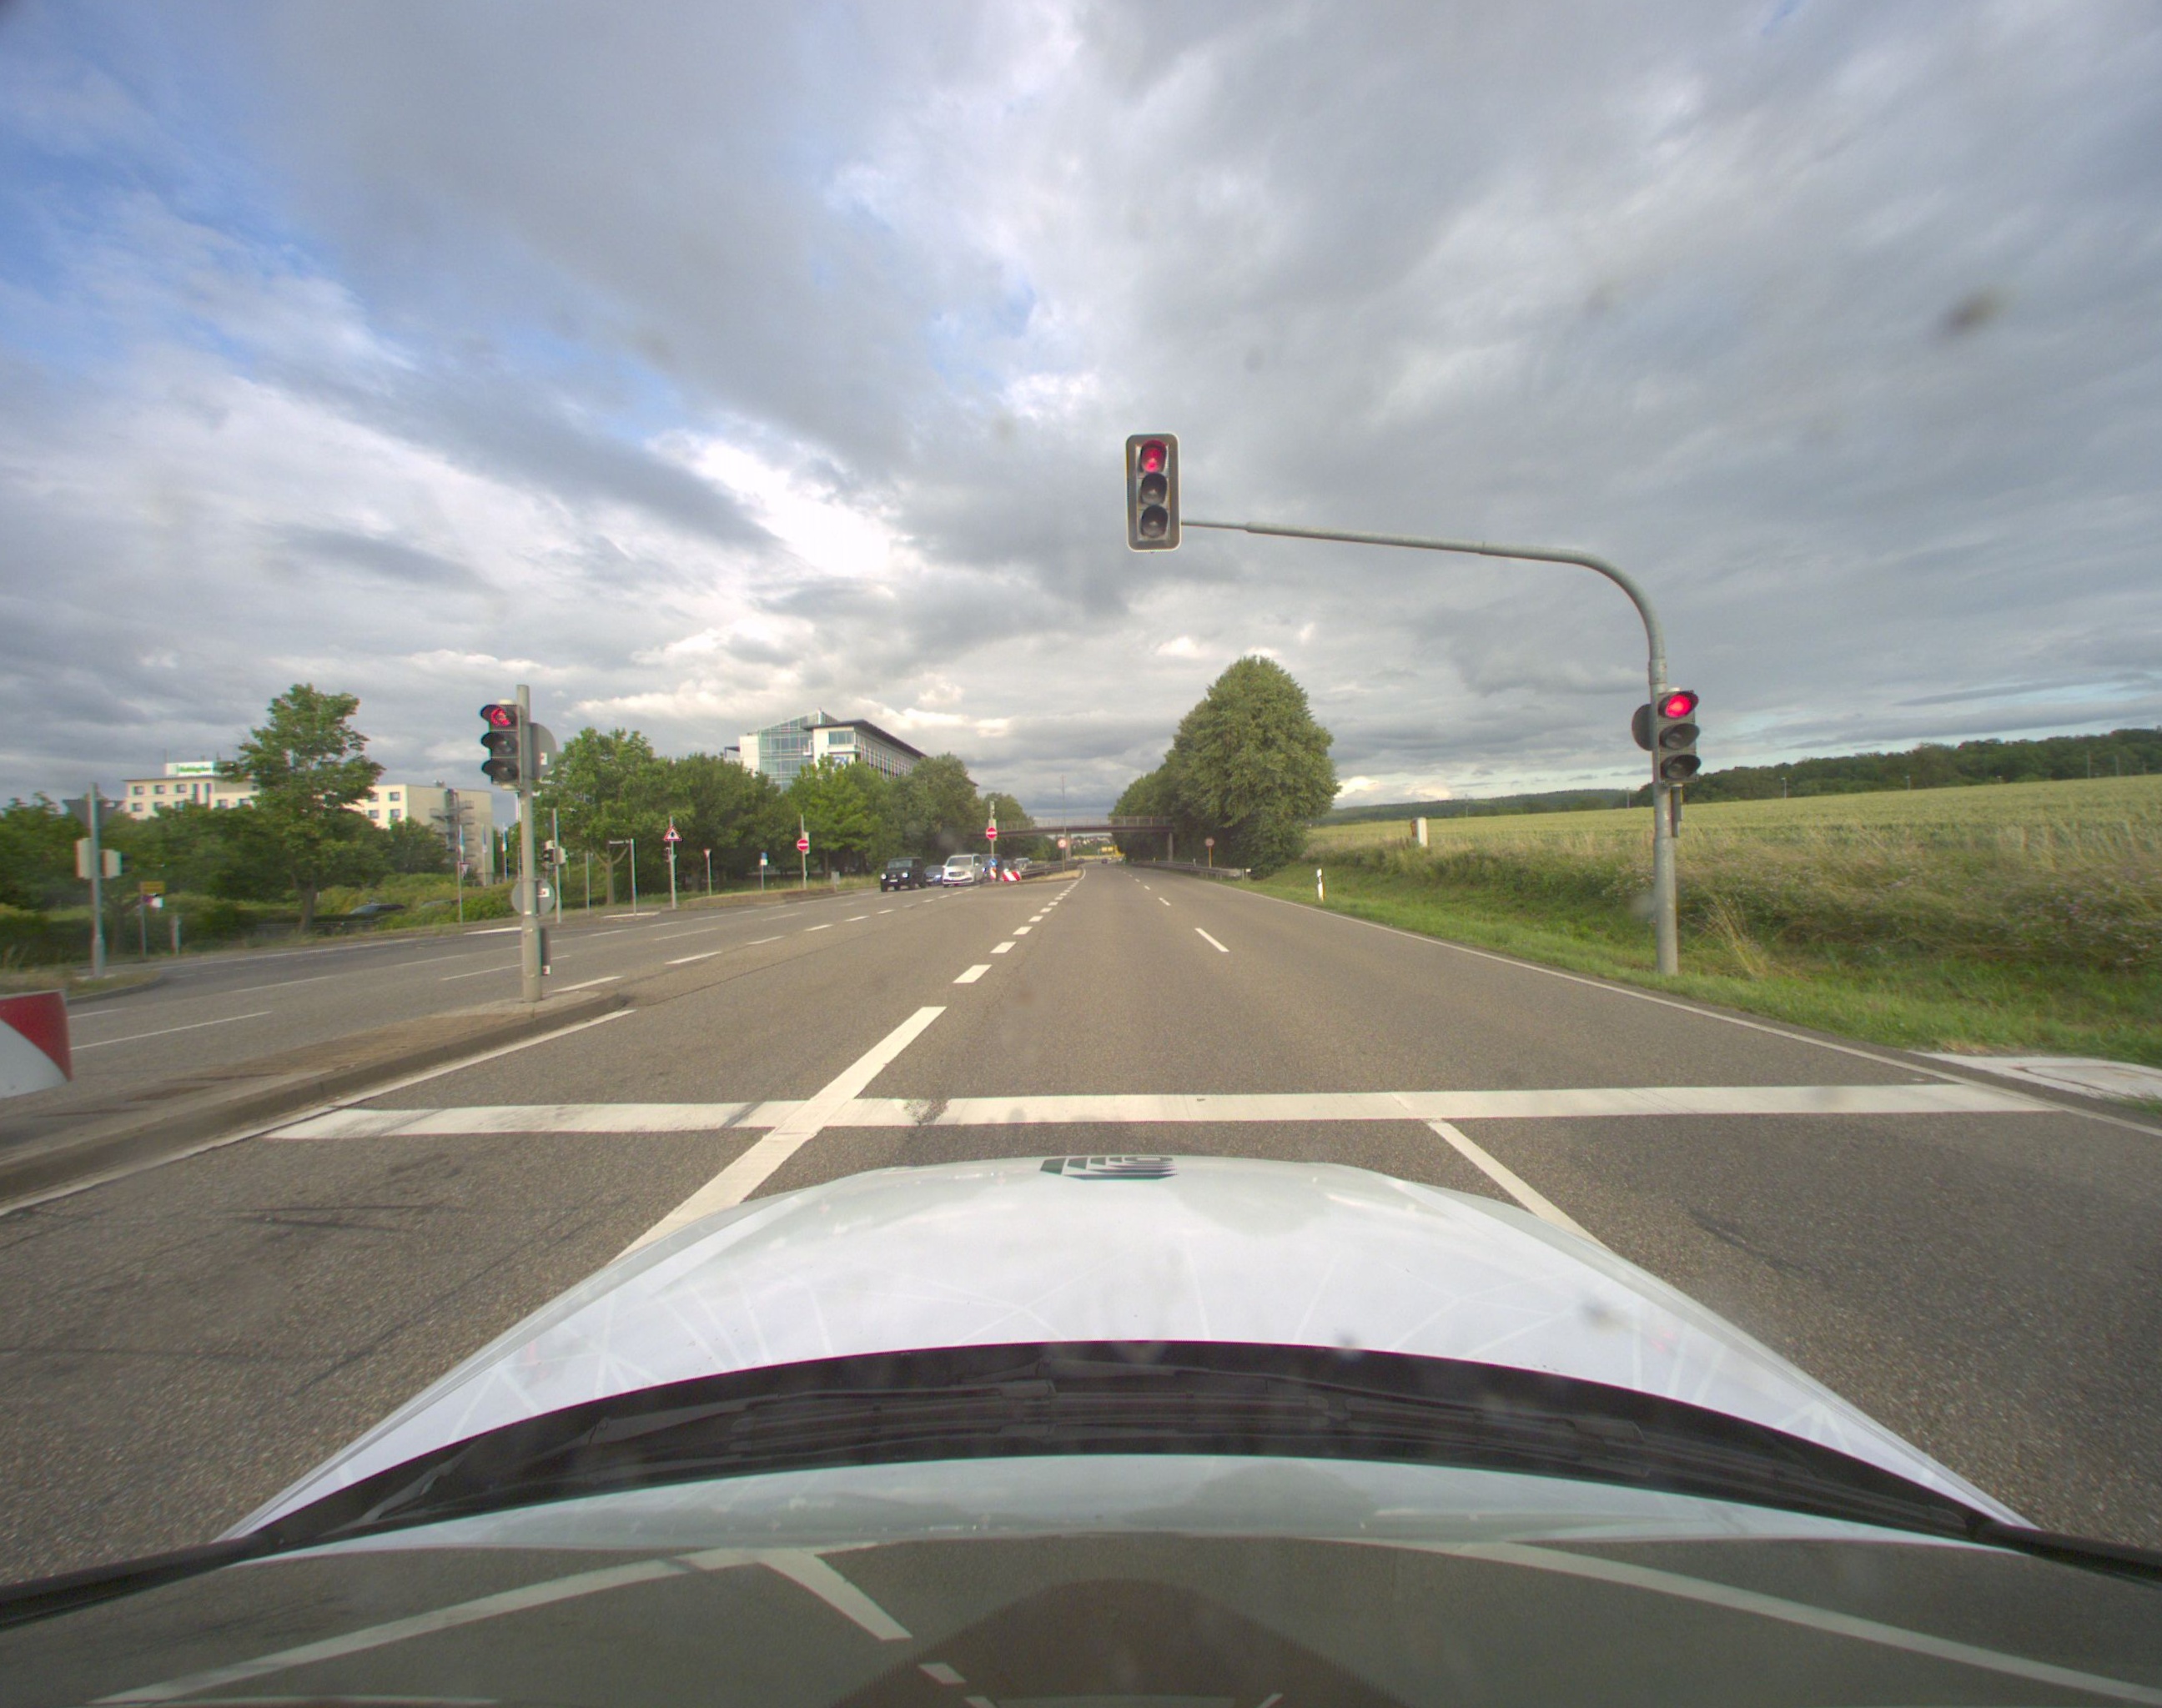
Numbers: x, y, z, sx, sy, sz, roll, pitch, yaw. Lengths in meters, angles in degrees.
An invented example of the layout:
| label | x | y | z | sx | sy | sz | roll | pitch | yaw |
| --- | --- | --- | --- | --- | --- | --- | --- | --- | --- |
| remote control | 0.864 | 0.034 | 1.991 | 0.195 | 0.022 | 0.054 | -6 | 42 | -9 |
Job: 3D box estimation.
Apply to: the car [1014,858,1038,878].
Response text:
| label | x | y | z | sx | sy | sz | roll | pitch | yaw |
| --- | --- | --- | --- | --- | --- | --- | --- | --- | --- |
| car | -5.758 | 1.493 | 85.775 | 2.076 | 2.014 | 5.216 | 0 | -1 | 1 |

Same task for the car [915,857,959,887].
| label | x | y | z | sx | sy | sz | roll | pitch | yaw |
| --- | --- | --- | --- | --- | --- | --- | --- | --- | --- |
| car | -10.026 | 1.255 | 57.151 | 2.076 | 2.014 | 5.216 | 0 | -1 | 1 |

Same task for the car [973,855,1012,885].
| label | x | y | z | sx | sy | sz | roll | pitch | yaw |
| --- | --- | --- | --- | --- | --- | --- | --- | --- | --- |
| car | -6.185 | 1.075 | 57.407 | 2.076 | 2.014 | 5.216 | 0 | -1 | 1 |

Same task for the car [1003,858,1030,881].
| label | x | y | z | sx | sy | sz | roll | pitch | yaw |
| --- | --- | --- | --- | --- | --- | --- | --- | --- | --- |
| car | -5.999 | 1.407 | 75.957 | 2.076 | 2.014 | 5.216 | 0 | -1 | 1 |

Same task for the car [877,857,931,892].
| label | x | y | z | sx | sy | sz | roll | pitch | yaw |
| --- | --- | --- | --- | --- | --- | --- | --- | --- | --- |
| car | -10.724 | 1.191 | 49.662 | 2.076 | 2.014 | 5.216 | 0 | -1 | 1 |

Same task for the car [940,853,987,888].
| label | x | y | z | sx | sy | sz | roll | pitch | yaw |
| --- | --- | --- | --- | --- | --- | --- | --- | --- | --- |
| car | -7.103 | 0.967 | 49.688 | 2.076 | 2.014 | 5.216 | 0 | -1 | 1 |
